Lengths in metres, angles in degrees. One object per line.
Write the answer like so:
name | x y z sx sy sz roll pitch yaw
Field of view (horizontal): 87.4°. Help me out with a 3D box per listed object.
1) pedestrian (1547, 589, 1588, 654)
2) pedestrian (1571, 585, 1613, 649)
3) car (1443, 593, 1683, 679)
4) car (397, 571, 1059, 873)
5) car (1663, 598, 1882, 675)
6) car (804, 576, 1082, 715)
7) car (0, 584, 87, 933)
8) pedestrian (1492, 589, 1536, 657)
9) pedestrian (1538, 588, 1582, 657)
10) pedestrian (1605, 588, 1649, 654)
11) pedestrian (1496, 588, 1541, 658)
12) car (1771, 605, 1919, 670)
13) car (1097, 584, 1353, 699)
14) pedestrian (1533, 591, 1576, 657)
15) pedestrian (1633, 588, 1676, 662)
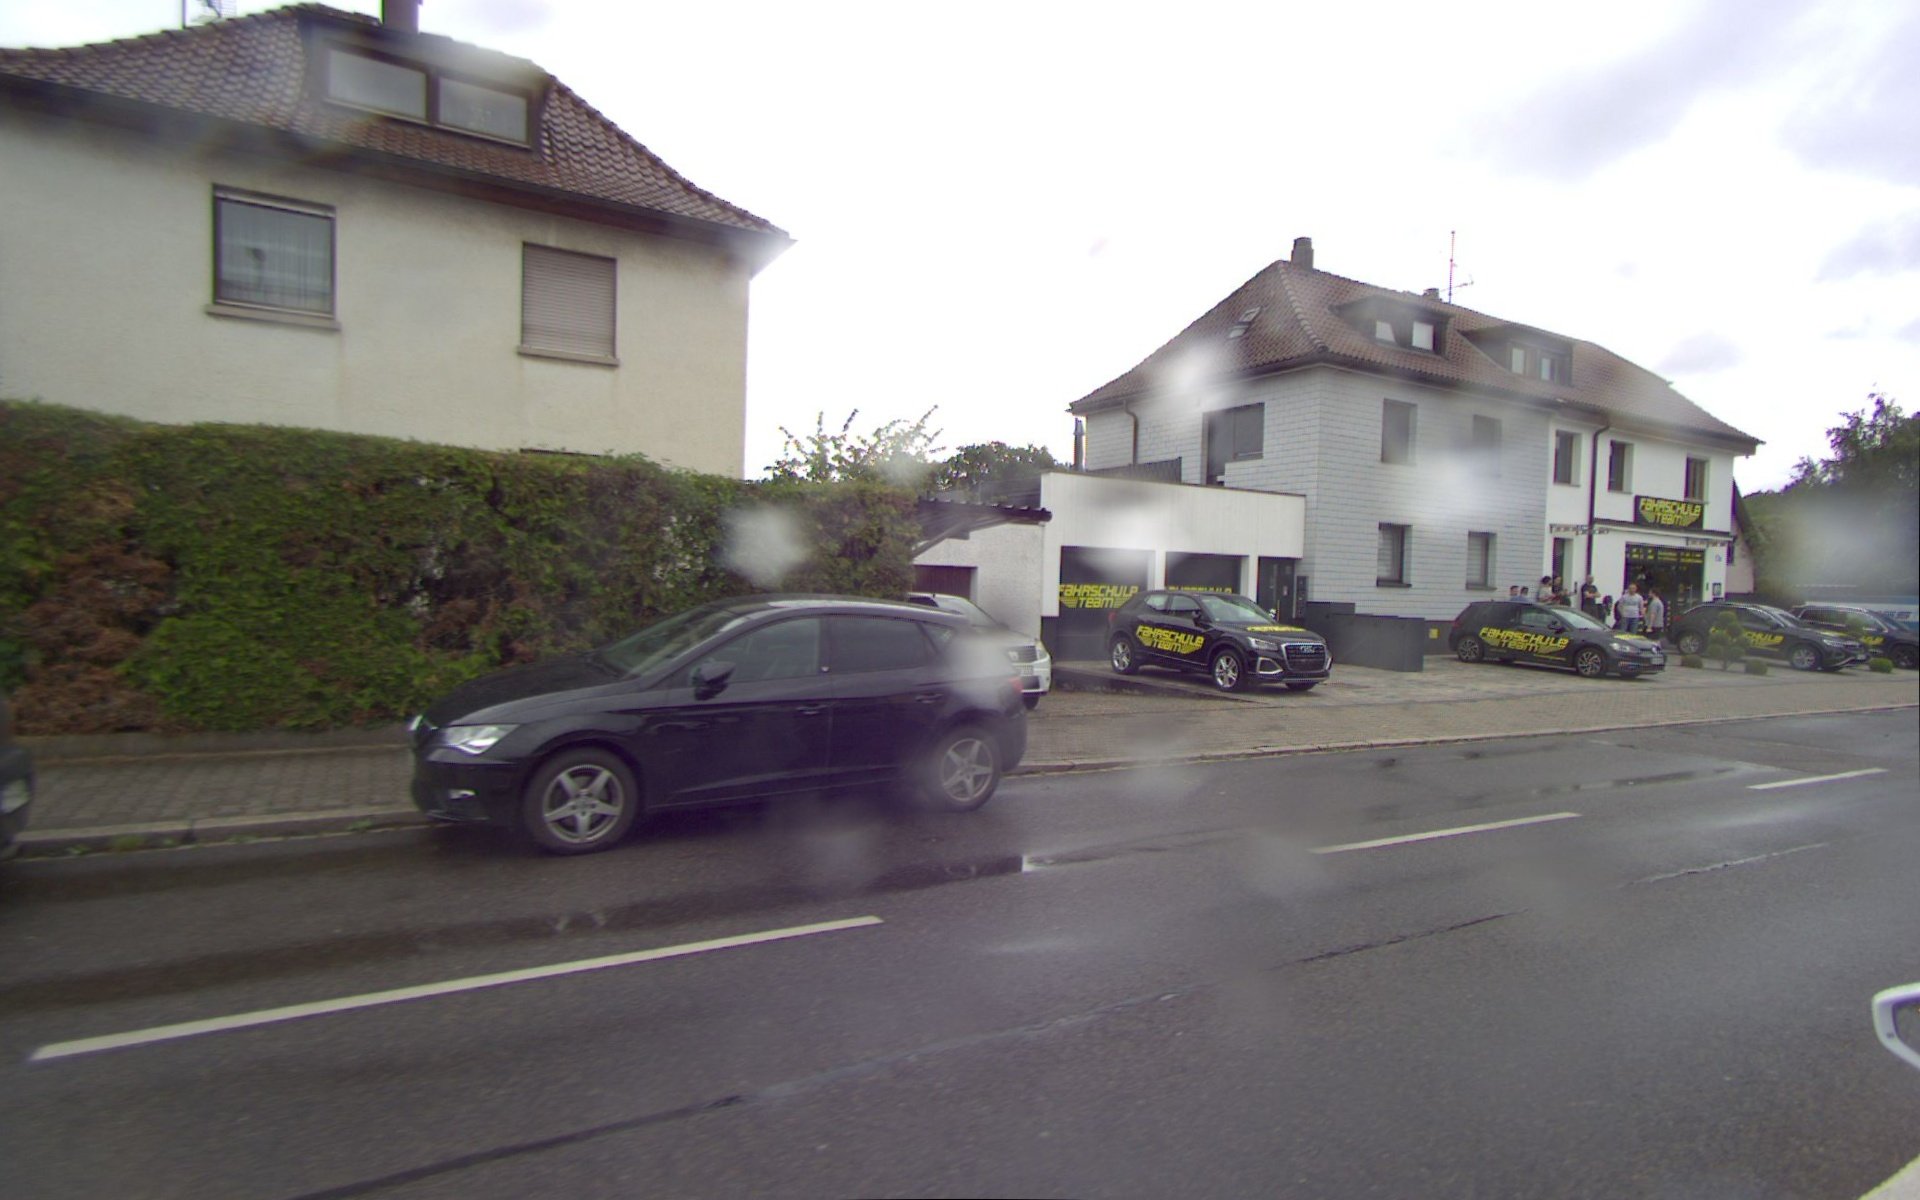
pedestrian | 16.417 0.583 27.149 0.641 1.688 0.598 1 4 -25
pedestrian | 17.296 0.461 27.497 0.641 1.688 0.598 1 4 -25
car | 12.924 0.720 21.793 1.833 1.536 4.053 2 2 -29
car | -1.496 0.663 7.046 4.164 1.553 1.747 2 0 -33
car | 21.479 0.927 26.736 1.833 1.536 4.053 2 4 -29
car | -0.388 0.618 13.298 1.837 1.535 3.963 2 -4 -34
car | -6.087 0.613 3.808 3.972 1.450 1.542 2 0 -33
pedestrian | 14.203 0.579 25.763 0.641 1.688 0.598 1 4 -25
pedestrian | 15.108 0.560 25.298 0.641 1.688 0.598 1 4 -25
pedestrian | 17.625 0.560 26.545 0.640 1.688 0.599 2 3 -22
pedestrian | 13.806 0.570 24.850 0.641 1.688 0.598 1 4 -25
car | 27.350 1.119 30.271 1.833 1.536 4.053 2 4 -29
car | 4.235 0.600 16.692 1.833 1.536 3.968 2 2 -29
pedestrian | 15.755 0.631 26.621 0.641 1.688 0.598 1 4 -25
pedestrian | 17.552 0.621 25.394 0.643 1.815 0.596 1 4 -35
